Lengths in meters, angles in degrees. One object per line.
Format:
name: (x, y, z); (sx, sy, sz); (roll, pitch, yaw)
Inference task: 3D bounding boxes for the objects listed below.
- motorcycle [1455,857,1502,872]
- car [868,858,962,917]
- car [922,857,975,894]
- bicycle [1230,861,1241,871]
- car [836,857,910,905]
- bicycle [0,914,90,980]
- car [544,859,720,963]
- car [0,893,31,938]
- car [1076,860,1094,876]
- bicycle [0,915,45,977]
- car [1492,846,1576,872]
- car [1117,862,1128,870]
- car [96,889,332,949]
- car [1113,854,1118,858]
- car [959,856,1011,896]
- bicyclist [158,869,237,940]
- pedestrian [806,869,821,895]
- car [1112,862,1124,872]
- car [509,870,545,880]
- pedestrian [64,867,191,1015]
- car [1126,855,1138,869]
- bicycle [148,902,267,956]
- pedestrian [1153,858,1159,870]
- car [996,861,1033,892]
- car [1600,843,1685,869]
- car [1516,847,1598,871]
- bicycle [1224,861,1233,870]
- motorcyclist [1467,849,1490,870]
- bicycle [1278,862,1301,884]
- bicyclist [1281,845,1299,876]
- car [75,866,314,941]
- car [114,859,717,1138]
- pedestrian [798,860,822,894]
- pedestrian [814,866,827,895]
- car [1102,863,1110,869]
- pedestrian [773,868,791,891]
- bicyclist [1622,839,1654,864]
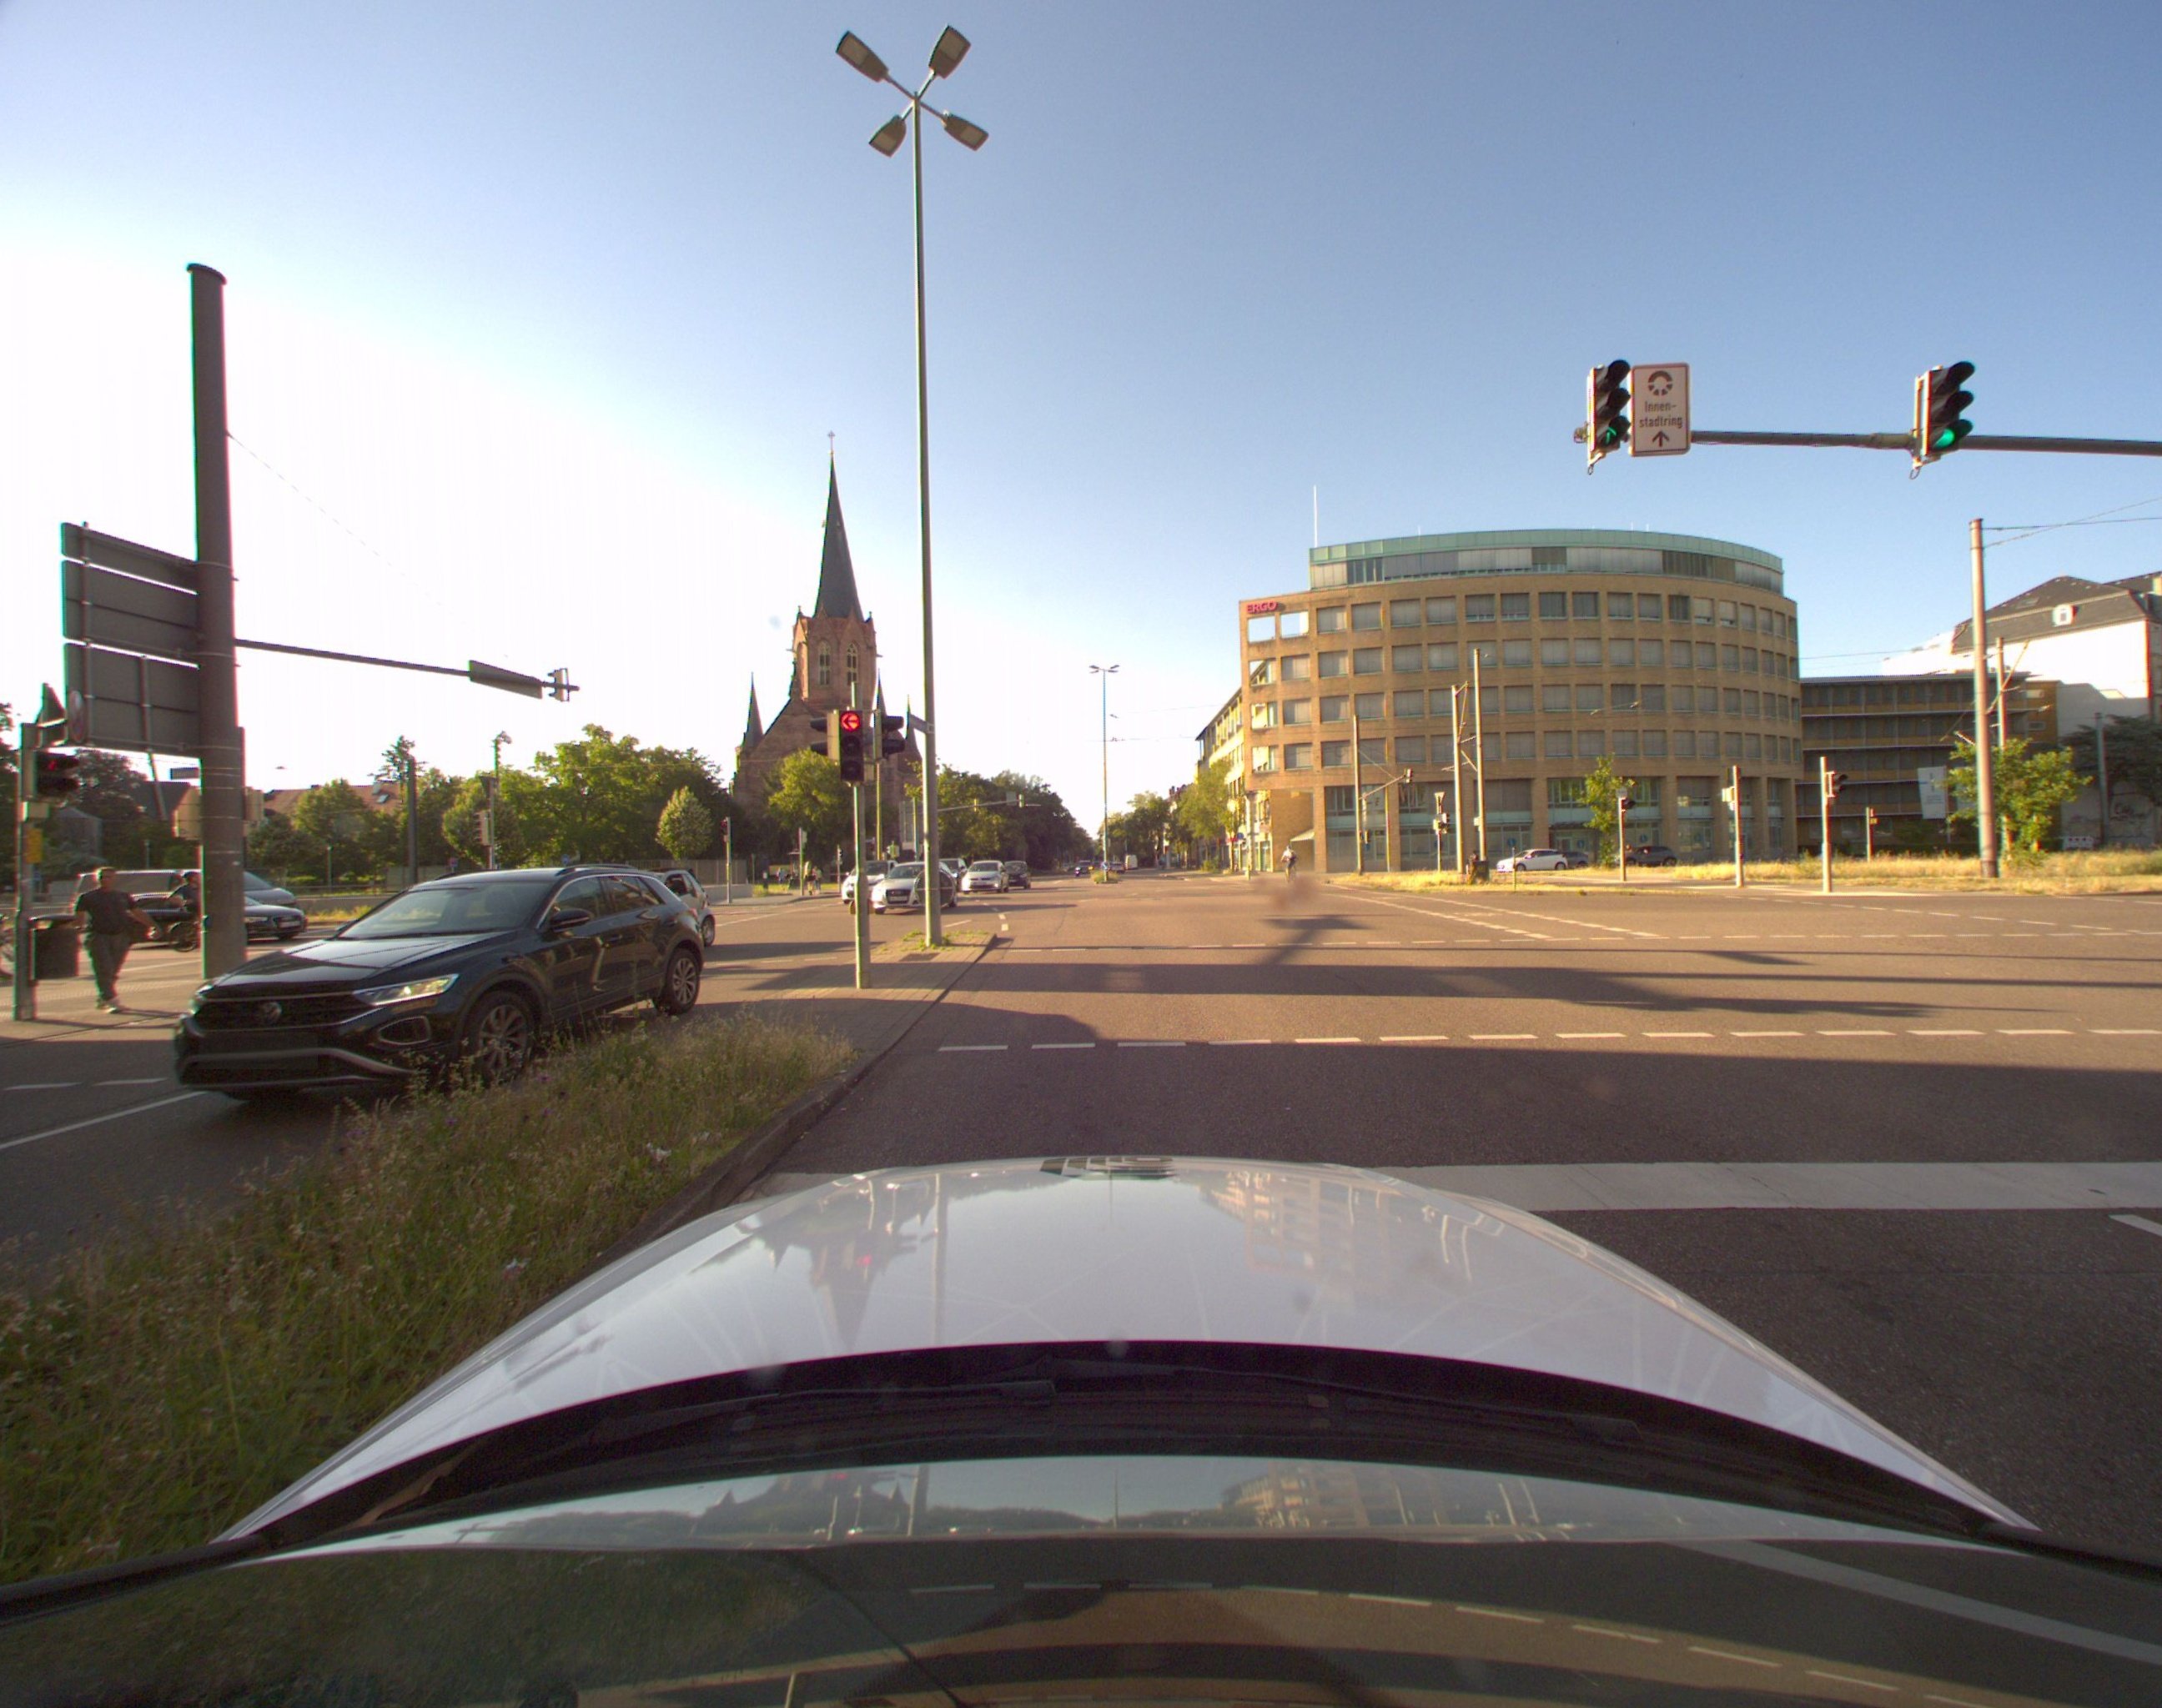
motorcycle: (27.408, 0.738, 56.177); (2.708, 0.964, 1.032); (-2, -1, 0)
car: (-4.720, 0.897, 23.712); (1.702, 1.425, 4.104); (-3, 0, 2)
car: (-6.893, 1.062, 42.762); (1.809, 1.711, 4.787); (-3, 0, 1)
bicycle: (15.196, 1.152, 80.024); (0.644, 0.994, 2.081); (-2, -1, 1)
car: (-7.679, 0.954, 30.380); (1.669, 1.544, 3.639); (-3, 0, 1)
bicycle: (-18.745, 1.636, 13.932); (0.732, 1.051, 2.300); (-2, 0, 1)
car: (-7.984, 0.949, 14.758); (1.530, 1.593, 2.808); (-3, 0, 0)
car: (-35.090, 1.956, 24.753); (3.889, 1.374, 1.800); (-2, -1, -1)
car: (0.493, 1.591, 93.911); (1.986, 1.724, 5.031); (-2, -1, 1)
bicycle: (-19.550, 1.657, 13.910); (0.732, 1.051, 2.300); (-2, -1, 1)
car: (28.391, 0.310, 51.132); (4.150, 1.492, 1.994); (-2, -1, -1)
car: (6.280, 1.817, 124.198); (1.588, 1.267, 3.268); (-2, 0, 2)
car: (-22.649, 1.673, 21.404); (4.175, 1.313, 1.800); (-2, -1, -1)
car: (10.740, 0.729, 255.084); (1.588, 1.267, 3.268); (-2, 0, 2)
car: (-4.212, 0.939, 36.308); (1.669, 1.544, 3.807); (-3, 0, 1)
bicyclist: (-21.064, 1.175, 19.432); (0.733, 1.598, 0.963); (-3, 0, 1)
pedestrian: (-17.321, 1.806, 52.716); (0.846, 1.696, 1.008); (0, -1, -24)
car: (4.822, 1.665, 106.321); (1.588, 1.267, 3.268); (-2, 0, 2)
car: (-91.784, 3.428, 134.899); (4.450, 1.571, 1.993); (-2, -1, -10)
pedestrian: (-12.113, 1.068, 10.372); (0.605, 1.787, 0.813); (1, 0, 5)
car: (8.996, 1.352, 144.392); (1.986, 2.440, 4.002); (0, -1, 2)
bicycle: (-20.813, 1.778, 19.432); (1.770, 1.097, 0.952); (-3, 0, 1)
pedestrian: (12.076, 1.637, 130.945); (0.844, 1.803, 0.776); (-2, 0, 1)
car: (-3.674, 1.202, 45.303); (1.572, 1.544, 3.478); (-3, 0, 1)
car: (35.215, 0.120, 51.121); (4.038, 1.492, 1.820); (-2, -1, 0)
car: (32.742, 0.364, 56.157); (4.464, 1.537, 1.987); (-2, -1, 2)
bicycle: (15.300, 1.190, 84.442); (0.644, 0.994, 2.081); (-2, -1, 1)
motorcyclist: (27.412, 0.383, 56.184); (1.061, 1.435, 1.032); (-2, -1, 1)
bicycle: (9.361, 0.822, 36.593); (0.590, 0.943, 1.979); (0, 0, 2)
bicyclist: (9.342, 0.283, 36.495); (0.590, 1.369, 0.930); (0, 0, 2)
car: (-26.644, 1.441, 24.616); (4.908, 2.014, 1.999); (-2, -1, -1)
car: (-4.902, 0.876, 6.932); (1.670, 1.544, 4.102); (-3, 0, 0)
pedestrian: (-14.012, 1.174, 42.155); (0.962, 1.739, 0.812); (-1, -1, 0)
pedestrian: (-16.039, 1.623, 50.152); (0.709, 1.696, 0.891); (0, -1, -15)
car: (5.678, 2.803, 184.977); (1.588, 1.267, 3.268); (-2, 0, 2)
pedestrian: (-22.862, 1.935, 62.290); (1.004, 1.696, 0.850); (-1, -1, 31)
bicyclist: (36.468, -0.143, 53.335); (1.219, 1.572, 1.154); (-2, -1, 0)
